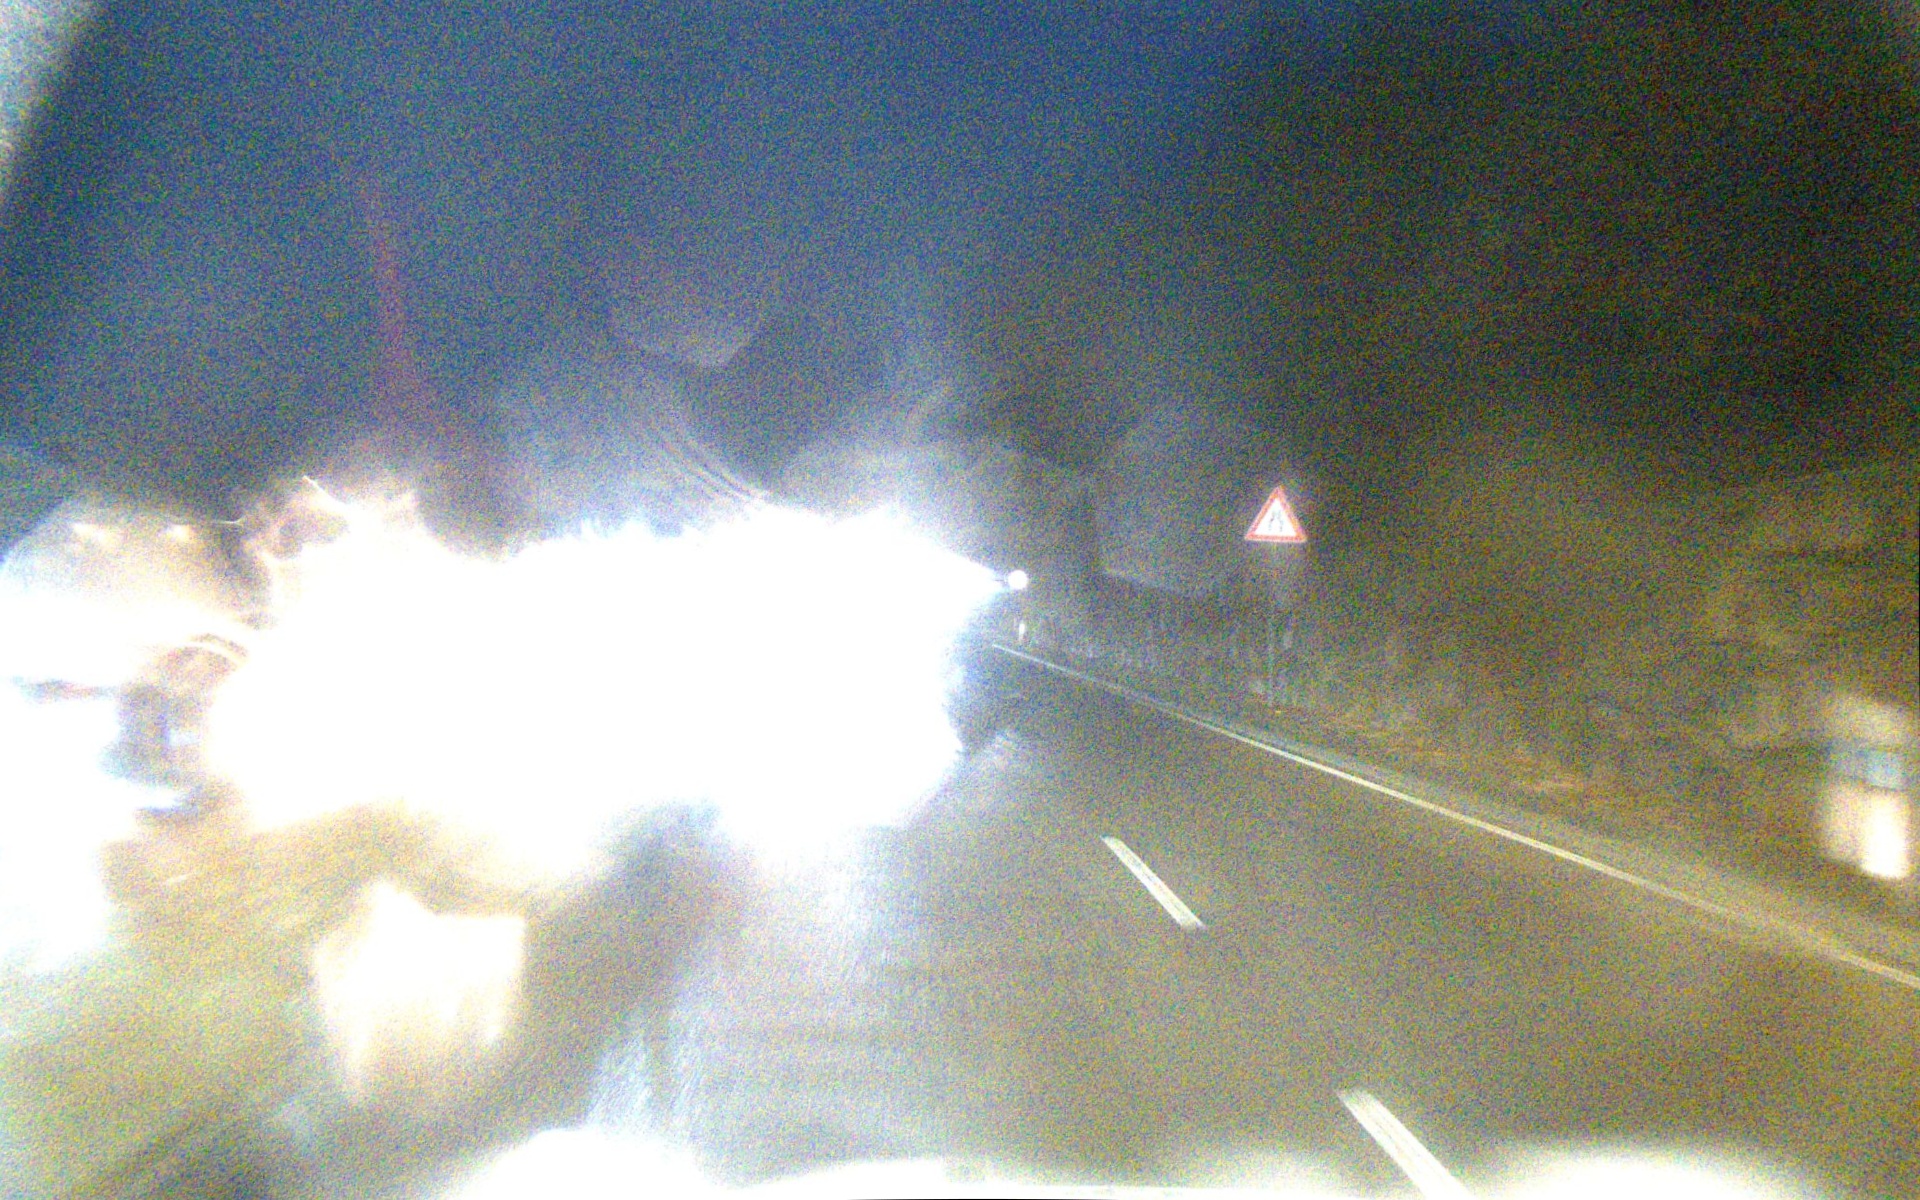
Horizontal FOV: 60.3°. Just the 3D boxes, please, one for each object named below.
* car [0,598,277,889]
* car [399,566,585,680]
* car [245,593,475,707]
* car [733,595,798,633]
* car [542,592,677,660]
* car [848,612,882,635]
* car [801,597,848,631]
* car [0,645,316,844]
[{"bbox_3d":[-6.234,0.787,10.550,1.917,1.598,4.465,1,-1,-1],"label":"car"},{"bbox_3d":[-9.090,0.424,32.629,2.109,2.049,4.996,1,0,1],"label":"car"},{"bbox_3d":[-8.962,0.704,25.044,1.924,1.556,3.689,1,0,4],"label":"car"},{"bbox_3d":[-8.513,0.601,72.831,2.040,1.569,4.900,1,0,2],"label":"car"},{"bbox_3d":[-8.839,0.620,42.213,2.136,1.586,5.205,1,0,2],"label":"car"},{"bbox_3d":[-7.035,1.717,122.386,2.066,1.603,4.681,1,0,2],"label":"car"},{"bbox_3d":[-7.688,0.764,94.263,1.952,1.897,5.321,1,0,2],"label":"car"},{"bbox_3d":[-9.060,1.460,18.280,1.952,1.777,4.499,1,0,2],"label":"car"}]
